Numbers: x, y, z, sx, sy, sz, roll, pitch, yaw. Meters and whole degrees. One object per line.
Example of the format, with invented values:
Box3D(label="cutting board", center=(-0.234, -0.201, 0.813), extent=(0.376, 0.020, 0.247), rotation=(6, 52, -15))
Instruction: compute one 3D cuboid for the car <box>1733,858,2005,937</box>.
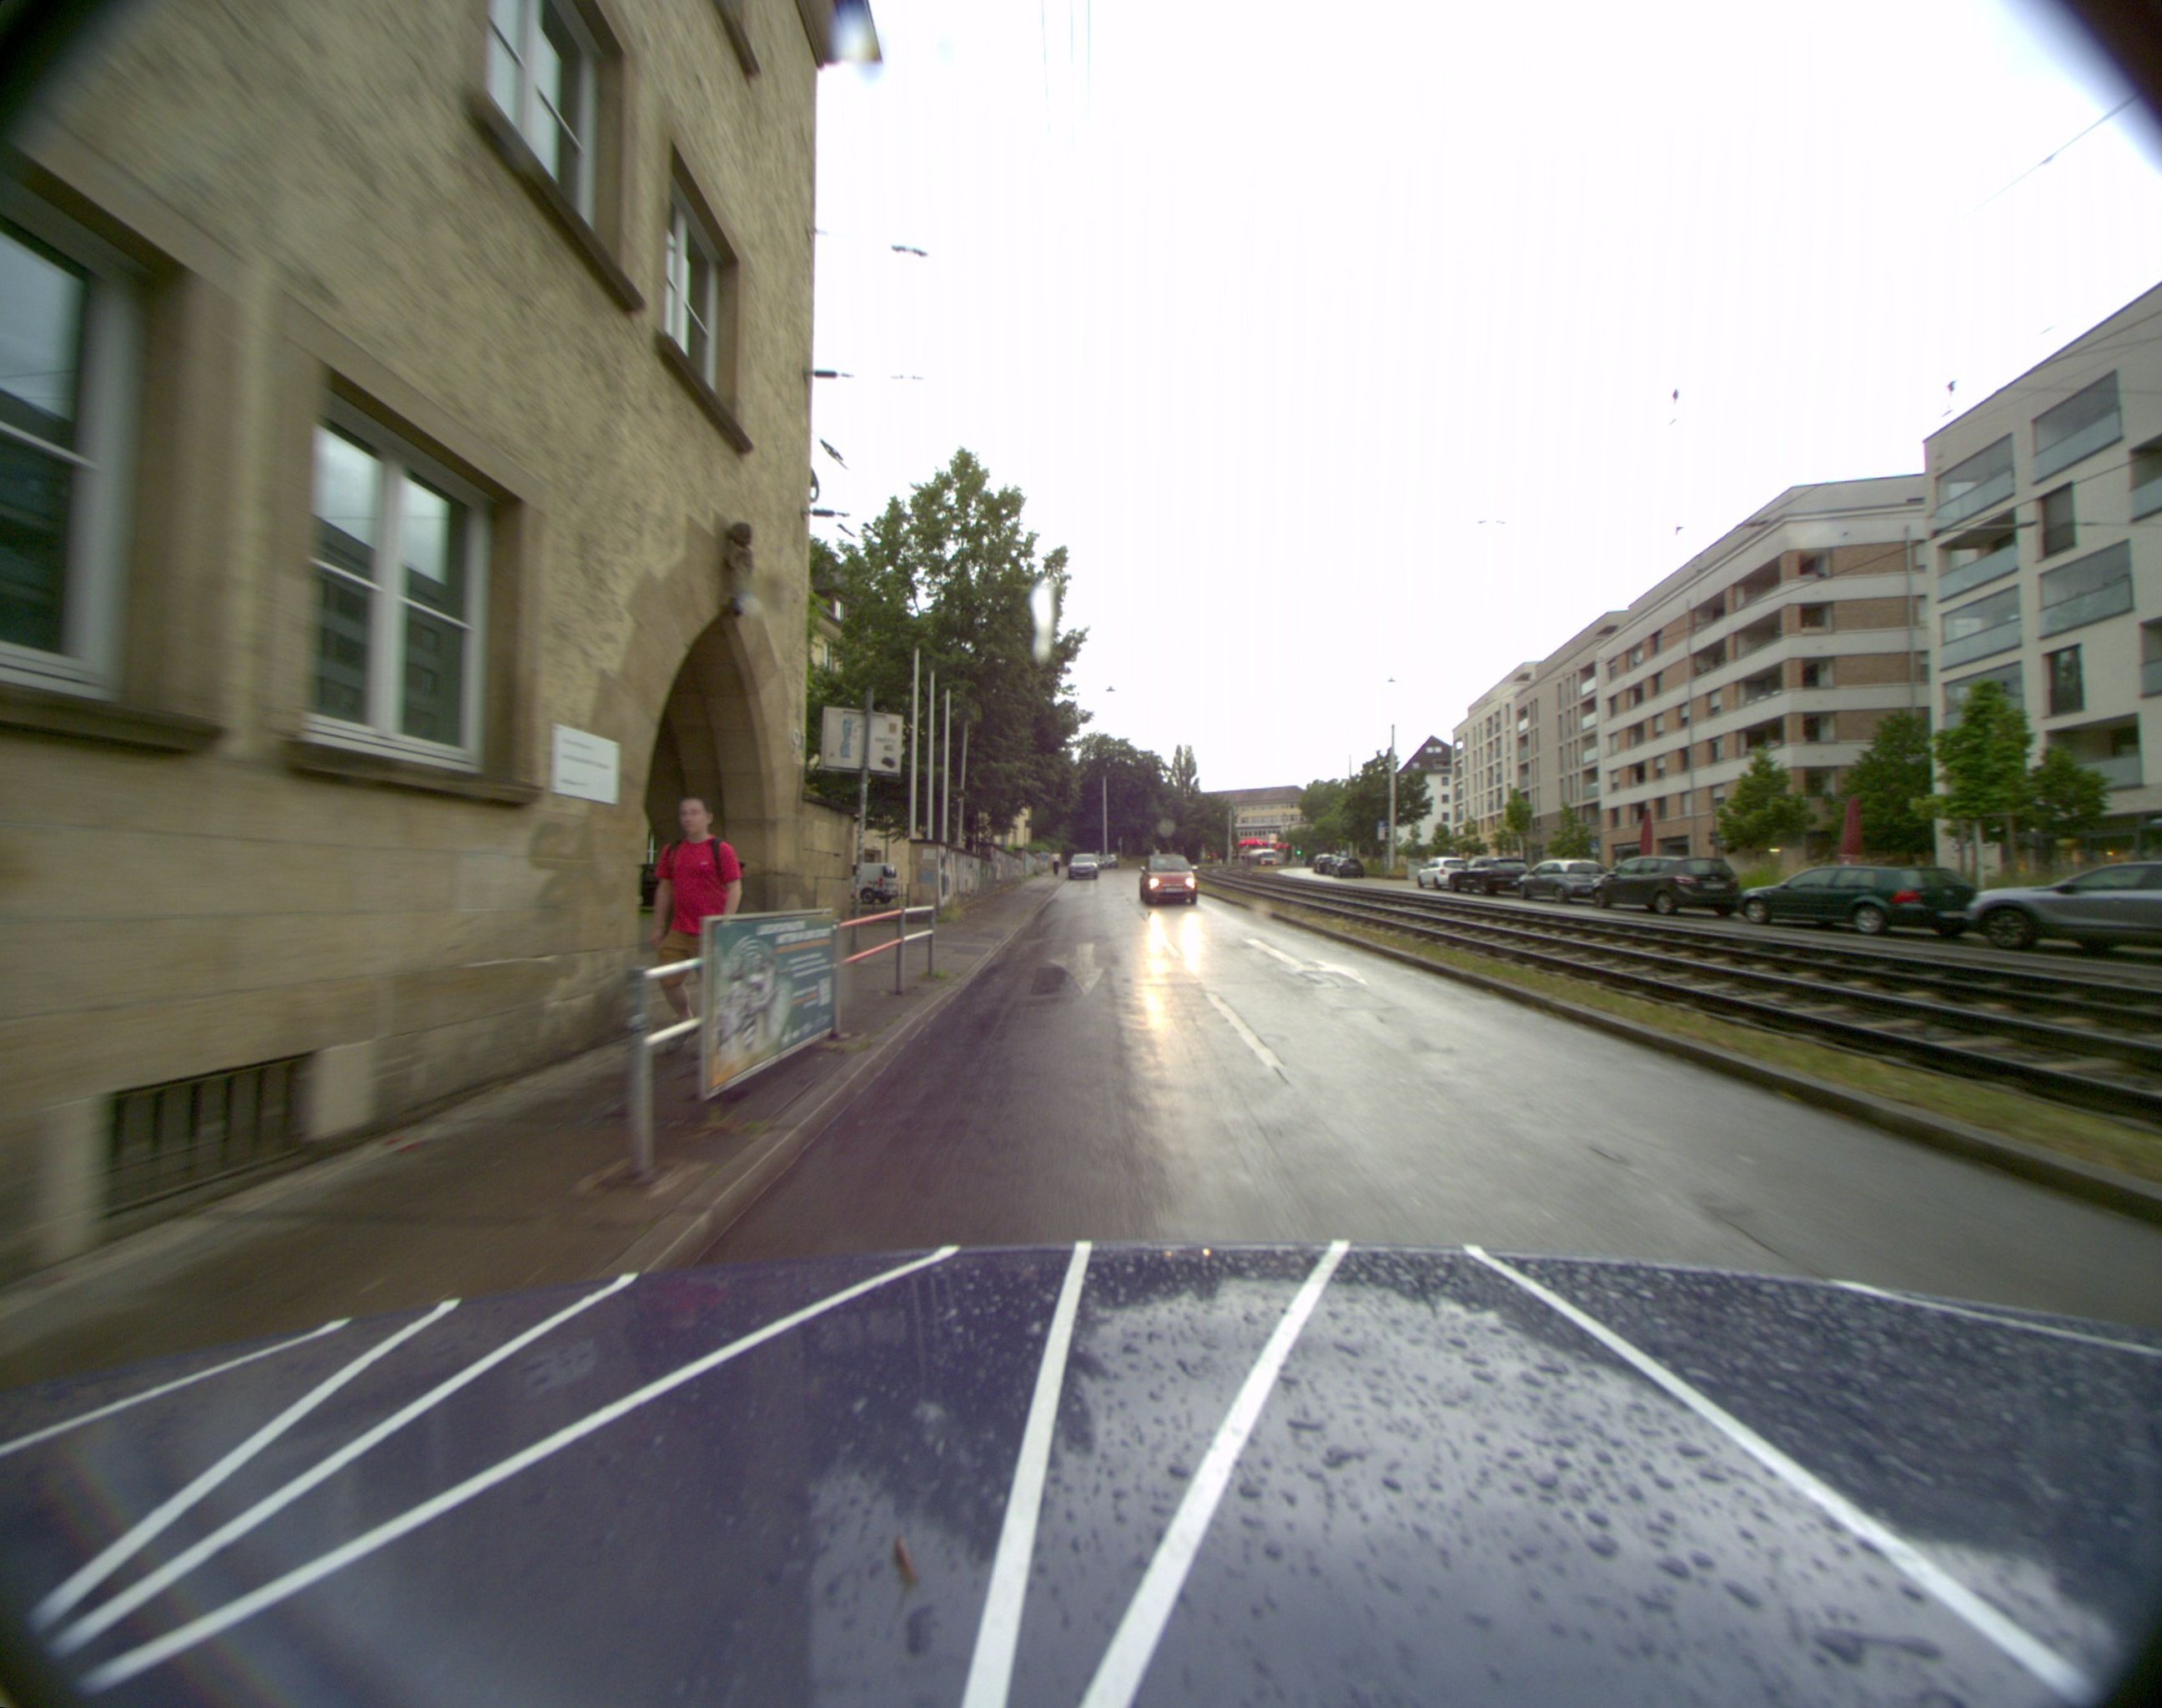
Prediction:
Box3D(label="car", center=(16.579, 0.833, 16.338), extent=(1.684, 1.373, 4.032), rotation=(-1, 1, 0))

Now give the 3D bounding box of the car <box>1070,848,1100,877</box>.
Box3D(label="car", center=(0.236, 0.496, 47.643), extent=(1.726, 1.676, 3.866), rotation=(-3, 1, 0))

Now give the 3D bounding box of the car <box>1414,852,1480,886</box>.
Box3D(label="car", center=(17.472, 0.678, 36.444), extent=(1.649, 1.496, 3.782), rotation=(-1, 1, 6))

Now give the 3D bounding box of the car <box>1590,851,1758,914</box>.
Box3D(label="car", center=(16.452, 0.719, 21.360), extent=(1.684, 1.554, 3.928), rotation=(-1, 1, 0))

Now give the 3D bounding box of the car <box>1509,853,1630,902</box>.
Box3D(label="car", center=(16.907, 0.764, 26.532), extent=(1.684, 1.496, 3.928), rotation=(-1, 1, 0))

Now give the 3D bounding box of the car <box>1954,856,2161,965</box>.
Box3D(label="car", center=(16.620, 0.835, 11.651), extent=(1.685, 1.521, 4.048), rotation=(-1, 1, -4))

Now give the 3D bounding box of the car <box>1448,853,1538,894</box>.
Box3D(label="car", center=(16.906, 0.736, 31.446), extent=(1.683, 1.496, 4.406), rotation=(-1, 1, 6))

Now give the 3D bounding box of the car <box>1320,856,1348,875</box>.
Box3D(label="car", center=(21.042, 0.929, 63.362), extent=(1.653, 1.455, 3.672), rotation=(-2, 1, 10))

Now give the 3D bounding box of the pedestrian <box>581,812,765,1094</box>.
Box3D(label="pedestrian", center=(-2.711, 0.614, 5.148), extent=(0.748, 1.754, 0.818), rotation=(-1, 1, 0))

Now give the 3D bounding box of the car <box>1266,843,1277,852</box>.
Box3D(label="car", center=(34.449, -1.203, 137.538), extent=(1.666, 1.597, 3.812), rotation=(-2, 1, 16))

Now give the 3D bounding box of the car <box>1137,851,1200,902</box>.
Box3D(label="car", center=(2.767, 0.669, 24.650), extent=(1.594, 1.455, 3.669), rotation=(-3, 1, 0))

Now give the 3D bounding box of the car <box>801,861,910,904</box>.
Box3D(label="car", center=(-10.641, 1.326, 35.935), extent=(4.526, 1.769, 1.824), rotation=(-2, 1, 12))

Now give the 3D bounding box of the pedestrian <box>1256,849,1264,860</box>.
Box3D(label="pedestrian", center=(27.902, 0.073, 118.445), extent=(0.816, 1.754, 0.751), rotation=(3, 1, 40))

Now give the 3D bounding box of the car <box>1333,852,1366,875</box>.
Box3D(label="car", center=(19.553, 0.678, 55.446), extent=(1.653, 1.455, 3.672), rotation=(-2, 1, 10))
